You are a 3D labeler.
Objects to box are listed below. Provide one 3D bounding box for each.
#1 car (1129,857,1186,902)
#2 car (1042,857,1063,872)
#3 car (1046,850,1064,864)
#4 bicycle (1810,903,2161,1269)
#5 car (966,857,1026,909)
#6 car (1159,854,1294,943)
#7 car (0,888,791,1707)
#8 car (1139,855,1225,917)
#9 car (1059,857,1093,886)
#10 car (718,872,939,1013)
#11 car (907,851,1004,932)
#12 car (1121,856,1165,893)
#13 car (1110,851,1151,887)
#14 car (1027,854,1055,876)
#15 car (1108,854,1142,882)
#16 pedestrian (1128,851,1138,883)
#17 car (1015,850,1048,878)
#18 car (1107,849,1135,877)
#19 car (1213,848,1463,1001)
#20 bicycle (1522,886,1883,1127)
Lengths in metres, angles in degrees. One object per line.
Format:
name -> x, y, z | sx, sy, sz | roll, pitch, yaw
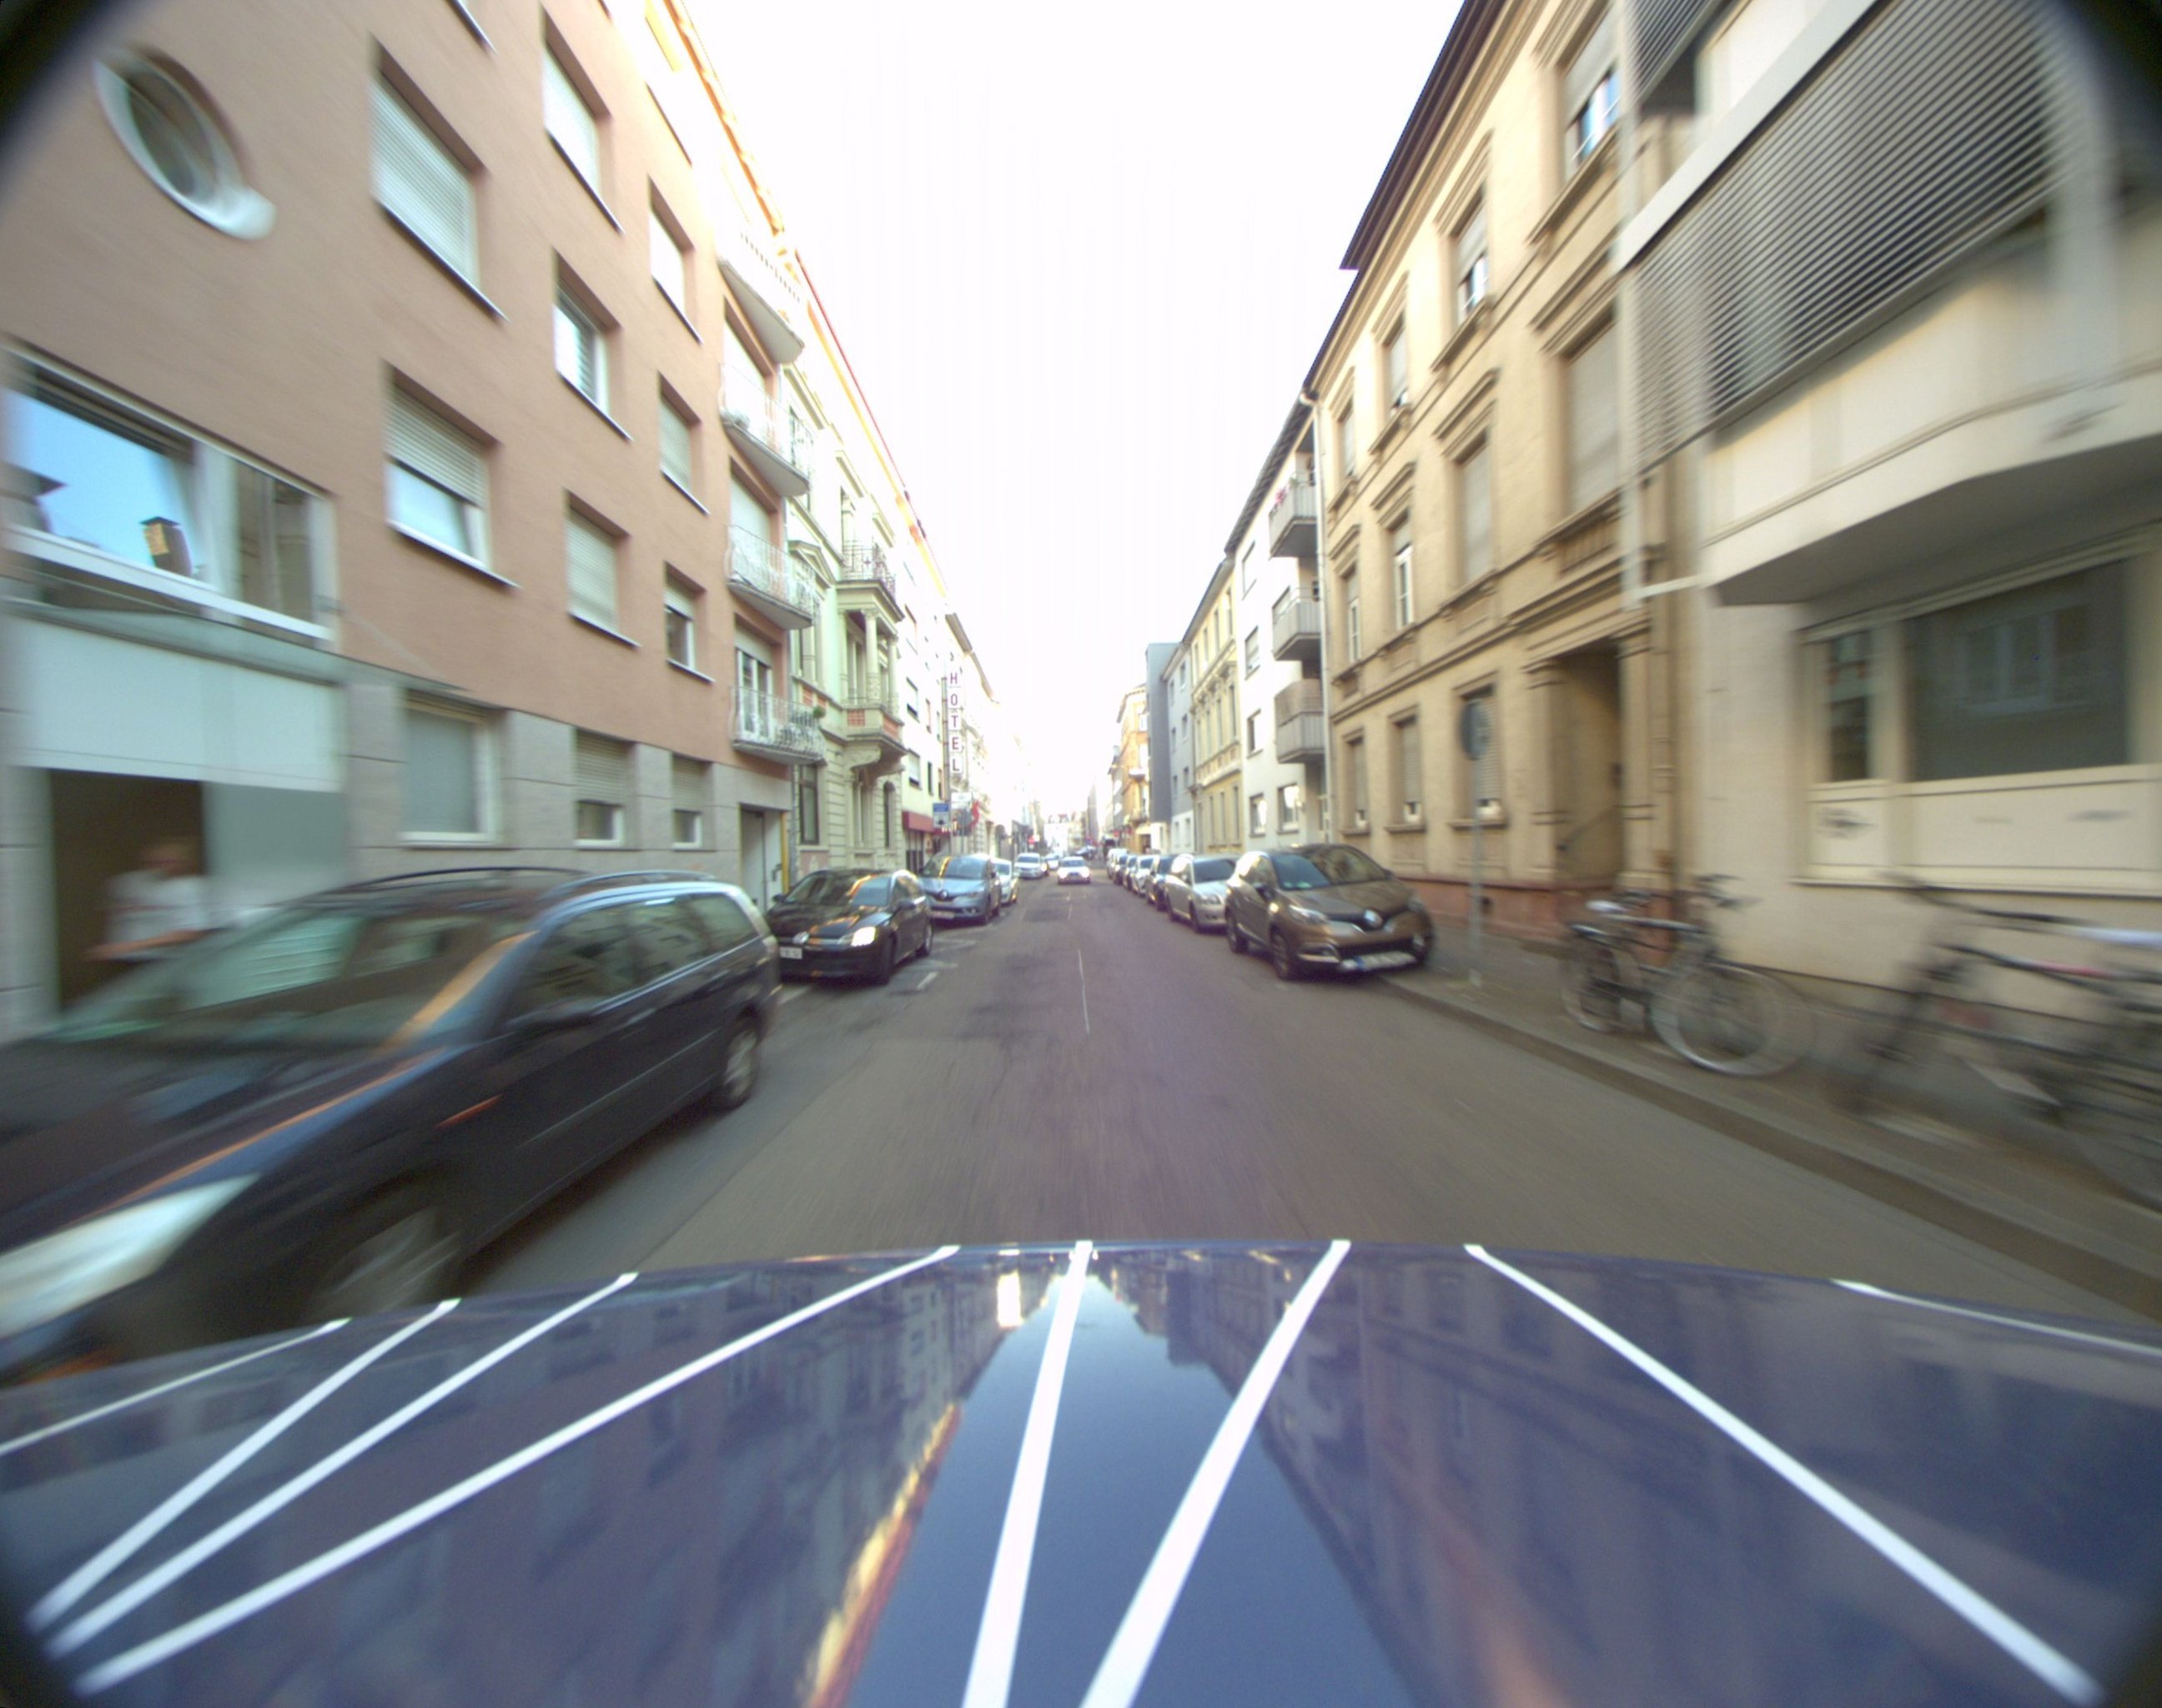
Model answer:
car -> 2.775, 0.882, 28.148 | 1.642, 1.480, 3.788 | -2, 0, -1
car -> -2.728, 1.001, 73.044 | 1.729, 1.390, 3.892 | -2, 0, 1
car -> -2.872, 0.348, 83.504 | 1.729, 1.390, 3.892 | -2, 0, 1
bicycle -> 3.993, 0.870, 3.079 | 0.307, 1.215, 1.813 | -3, 0, 1
car -> -2.804, 0.919, 25.660 | 1.574, 1.569, 3.589 | -2, 0, -1
car -> 2.858, 0.818, 15.963 | 1.795, 1.530, 4.433 | -2, 0, -2
car -> -2.993, 1.027, 3.424 | 1.694, 1.505, 4.283 | -2, 0, -1
car -> 2.793, 0.844, 21.961 | 1.795, 1.530, 4.494 | -2, 0, -1
car -> -0.255, 0.930, 42.170 | 1.681, 1.395, 4.471 | -3, 0, 0
car -> -3.248, 1.051, 10.681 | 1.694, 1.449, 4.131 | -2, 0, -1
car -> -2.971, 0.837, 18.843 | 1.694, 1.731, 4.109 | -2, 0, -1
car -> 2.634, 0.846, 33.122 | 1.642, 1.480, 3.954 | -2, 0, 1
car -> 2.508, 0.754, 39.153 | 1.642, 1.701, 3.782 | -2, 0, -2
car -> -2.914, 0.802, 56.203 | 1.729, 1.469, 3.976 | -3, 0, 1
car -> 2.597, 0.802, 45.843 | 1.642, 1.571, 3.782 | -2, 0, -2
pedestrian -> 2.840, 0.717, 41.566 | 0.456, 1.745, 0.455 | -2, 0, -2
car -> -3.269, 0.658, 50.792 | 1.841, 1.685, 4.358 | 2, 0, 1
car -> 2.669, 0.594, 51.675 | 1.642, 1.786, 3.783 | -2, 0, 0
car -> 3.121, 0.758, 10.188 | 1.795, 1.567, 4.070 | -2, 0, -2
bicycle -> 3.995, 0.868, 5.211 | 0.597, 1.180, 2.265 | -3, 0, 1
